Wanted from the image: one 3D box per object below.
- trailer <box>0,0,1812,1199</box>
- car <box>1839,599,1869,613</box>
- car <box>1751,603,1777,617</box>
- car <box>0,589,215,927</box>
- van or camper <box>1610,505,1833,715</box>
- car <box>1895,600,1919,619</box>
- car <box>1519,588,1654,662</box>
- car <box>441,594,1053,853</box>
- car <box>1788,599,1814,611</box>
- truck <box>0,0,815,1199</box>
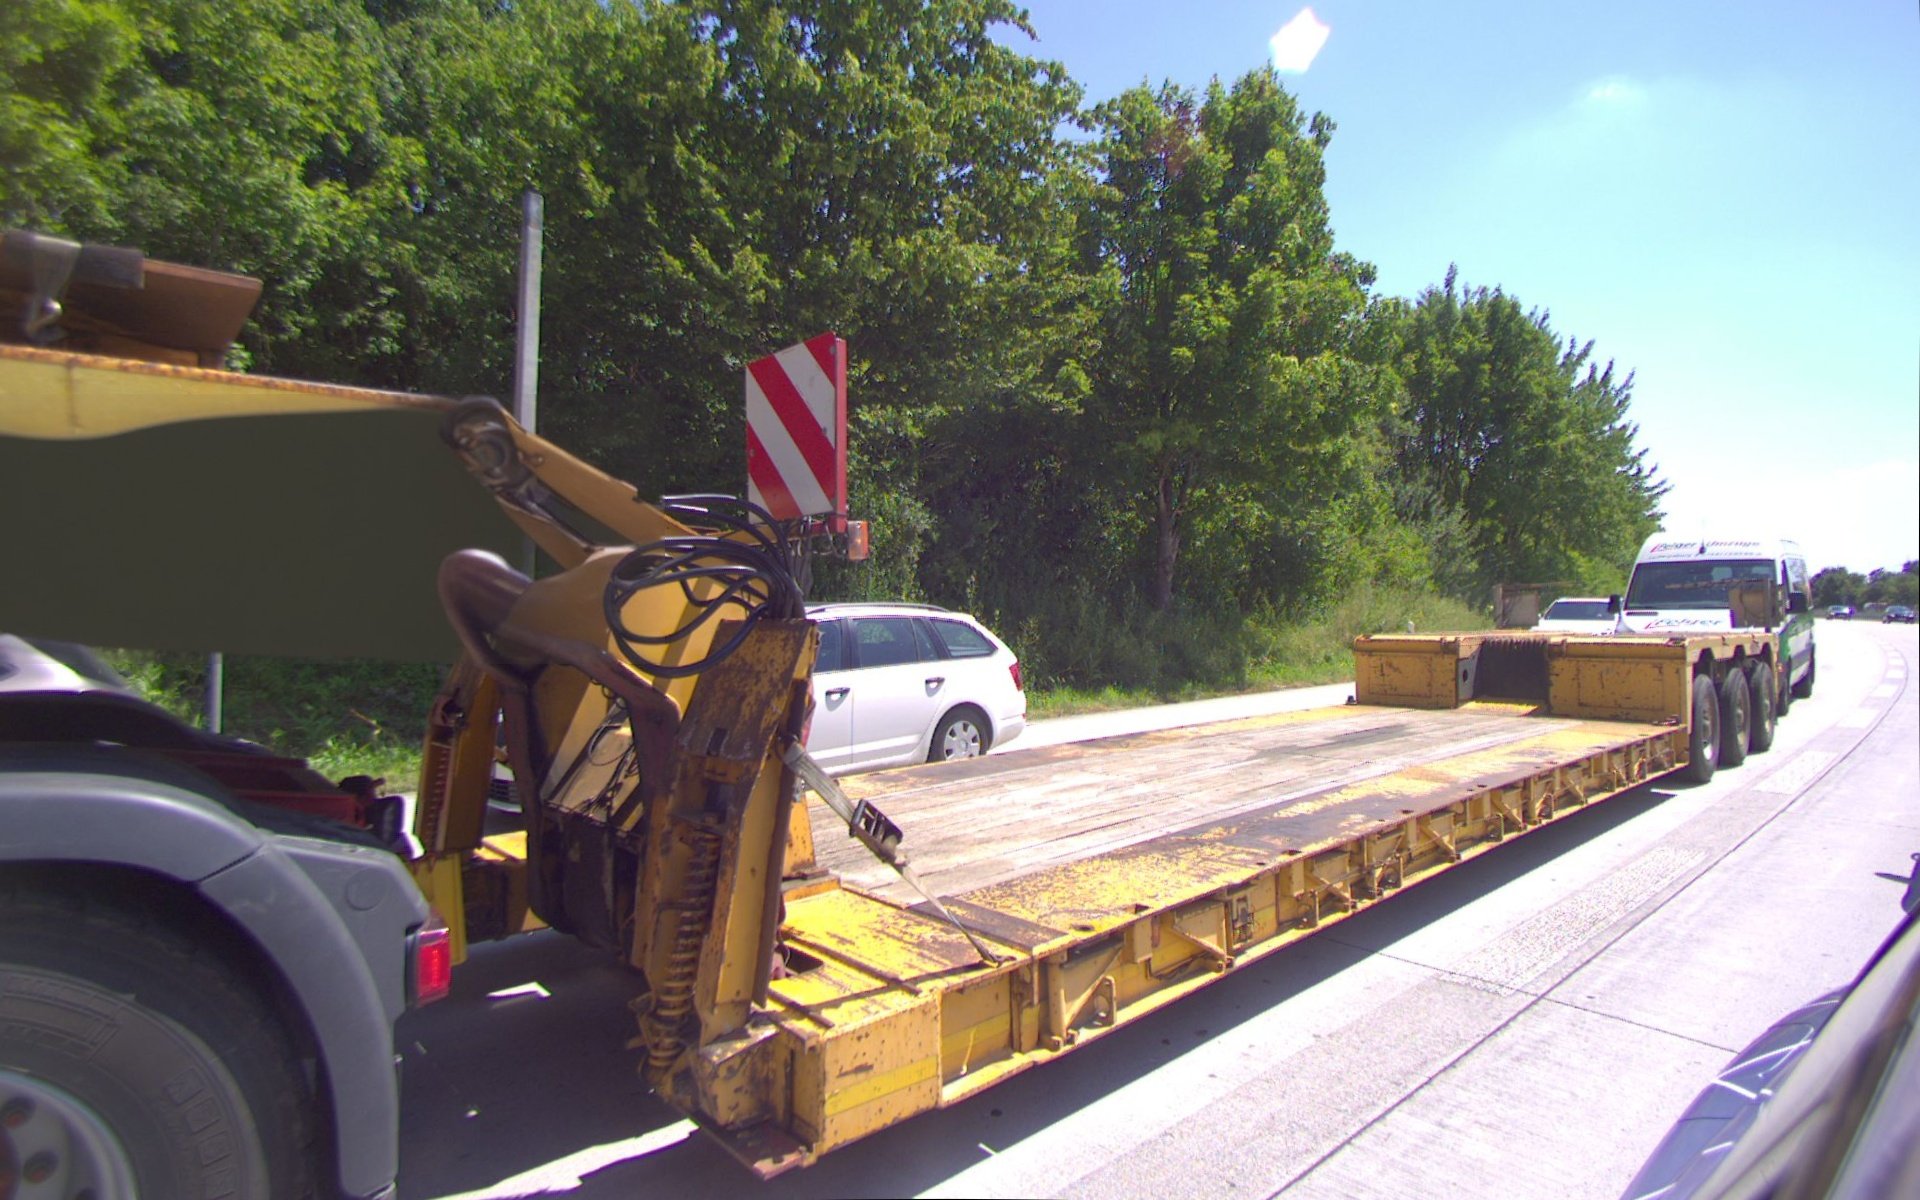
[{"bbox_3d":[1.860,0.105,6.202,16.076,2.626,3.031,0,0,-42],"label":"trailer"},{"bbox_3d":[99.533,0.638,112.713,1.692,1.483,3.960,0,0,29],"label":"car"},{"bbox_3d":[95.678,1.226,120.446,1.757,1.581,4.324,0,0,29],"label":"car"},{"bbox_3d":[-5.820,0.707,4.170,4.290,1.480,1.770,-1,0,-42],"label":"car"},{"bbox_3d":[11.736,0.085,15.392,2.063,2.606,5.815,0,0,43],"label":"van or camper"},{"bbox_3d":[80.001,0.775,85.003,1.617,1.504,3.951,0,0,34],"label":"car"},{"bbox_3d":[14.804,0.508,23.820,1.768,1.581,4.297,0,0,45],"label":"car"},{"bbox_3d":[-1.426,0.697,8.042,4.521,1.480,1.769,0,0,-43],"label":"car"},{"bbox_3d":[104.735,0.617,126.068,1.877,1.483,3.956,0,0,31],"label":"car"},{"bbox_3d":[-4.028,-0.505,0.851,7.342,3.820,3.017,0,0,-42],"label":"truck"}]
